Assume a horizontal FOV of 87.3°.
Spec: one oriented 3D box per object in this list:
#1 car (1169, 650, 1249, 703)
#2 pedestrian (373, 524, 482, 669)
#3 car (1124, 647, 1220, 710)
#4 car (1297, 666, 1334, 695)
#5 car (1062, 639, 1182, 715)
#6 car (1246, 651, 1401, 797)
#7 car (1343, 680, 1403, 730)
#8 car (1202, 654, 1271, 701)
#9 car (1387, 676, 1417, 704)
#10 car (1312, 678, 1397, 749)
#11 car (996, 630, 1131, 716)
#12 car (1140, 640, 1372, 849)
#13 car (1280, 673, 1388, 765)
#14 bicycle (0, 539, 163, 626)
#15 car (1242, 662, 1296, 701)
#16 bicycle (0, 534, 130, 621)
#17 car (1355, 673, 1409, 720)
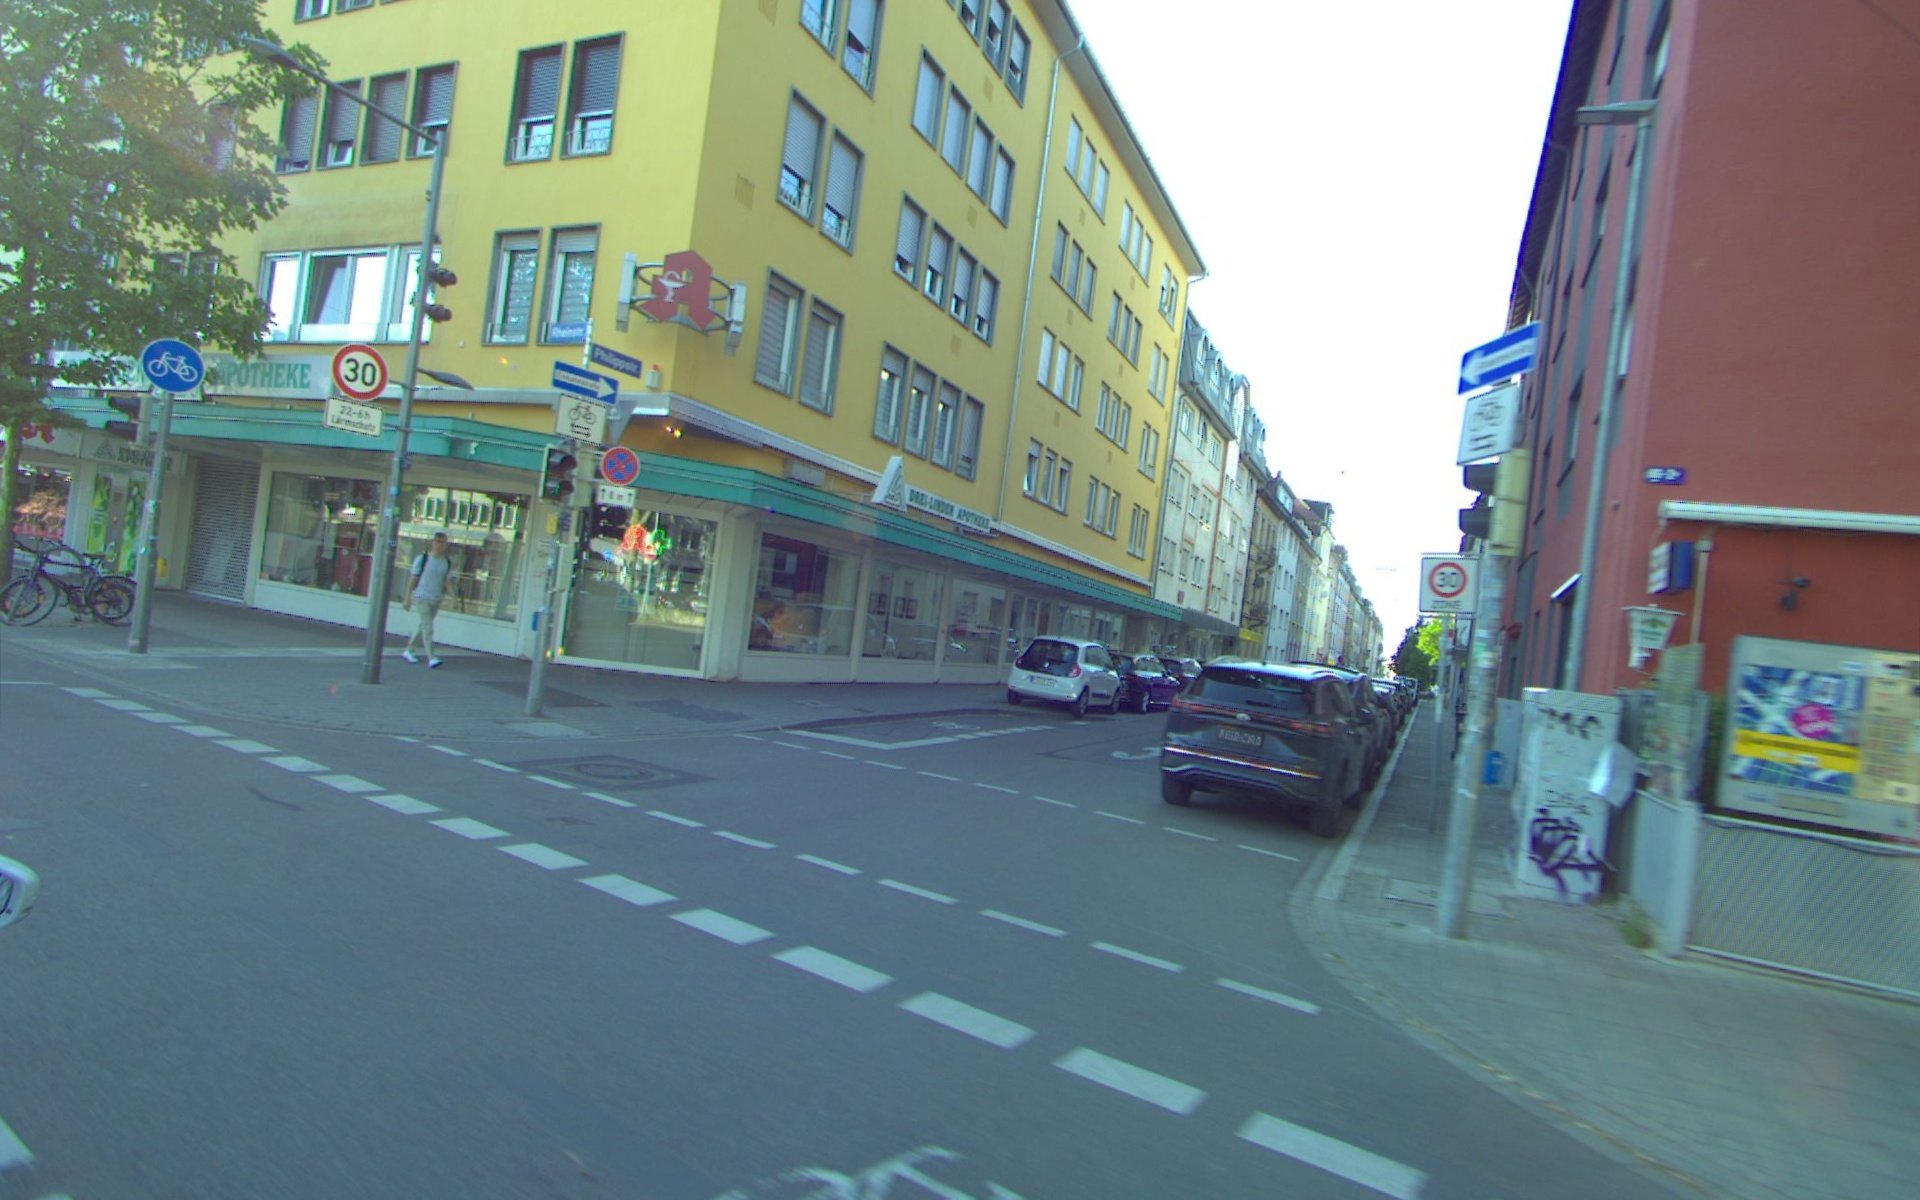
[{"bbox_3d":[8.807,2.708,35.363,1.741,1.501,3.775,8,-1,27],"label":"car"},{"bbox_3d":[-7.105,-0.036,13.430,0.879,1.801,0.745,6,-1,26],"label":"pedestrian"},{"bbox_3d":[6.389,2.360,30.028,1.741,1.501,3.775,8,-1,27],"label":"car"},{"bbox_3d":[24.266,5.511,68.631,1.741,1.642,3.775,8,-1,27],"label":"car"},{"bbox_3d":[4.151,1.948,25.290,1.741,1.501,3.775,8,-1,27],"label":"car"},{"bbox_3d":[5.929,1.883,16.050,1.741,1.761,4.616,7,-1,25],"label":"car"},{"bbox_3d":[14.681,3.673,35.662,1.740,1.419,3.750,7,-1,24],"label":"car"},{"bbox_3d":[11.059,3.100,40.060,1.741,1.501,3.775,8,-1,27],"label":"car"},{"bbox_3d":[31.735,6.473,72.229,1.740,1.709,3.749,7,-1,24],"label":"car"},{"bbox_3d":[10.179,2.849,25.784,1.740,1.419,3.855,7,-2,24],"label":"car"},{"bbox_3d":[2.304,1.589,21.739,1.741,1.501,3.320,7,-2,26],"label":"car"},{"bbox_3d":[3.577,1.516,11.539,1.741,1.706,4.354,7,-2,25],"label":"car"},{"bbox_3d":[7.873,2.408,20.969,1.740,1.503,3.813,7,-1,24],"label":"car"},{"bbox_3d":[-11.696,-0.208,13.242,0.531,1.021,1.802,7,1,23],"label":"bicycle"},{"bbox_3d":[14.876,3.926,48.296,1.741,1.501,3.775,8,-1,27],"label":"car"},{"bbox_3d":[-12.205,-0.289,13.526,0.446,1.020,1.488,7,-1,23],"label":"bicycle"},{"bbox_3d":[17.016,3.848,40.528,1.740,1.580,3.749,7,-1,24],"label":"car"}]
